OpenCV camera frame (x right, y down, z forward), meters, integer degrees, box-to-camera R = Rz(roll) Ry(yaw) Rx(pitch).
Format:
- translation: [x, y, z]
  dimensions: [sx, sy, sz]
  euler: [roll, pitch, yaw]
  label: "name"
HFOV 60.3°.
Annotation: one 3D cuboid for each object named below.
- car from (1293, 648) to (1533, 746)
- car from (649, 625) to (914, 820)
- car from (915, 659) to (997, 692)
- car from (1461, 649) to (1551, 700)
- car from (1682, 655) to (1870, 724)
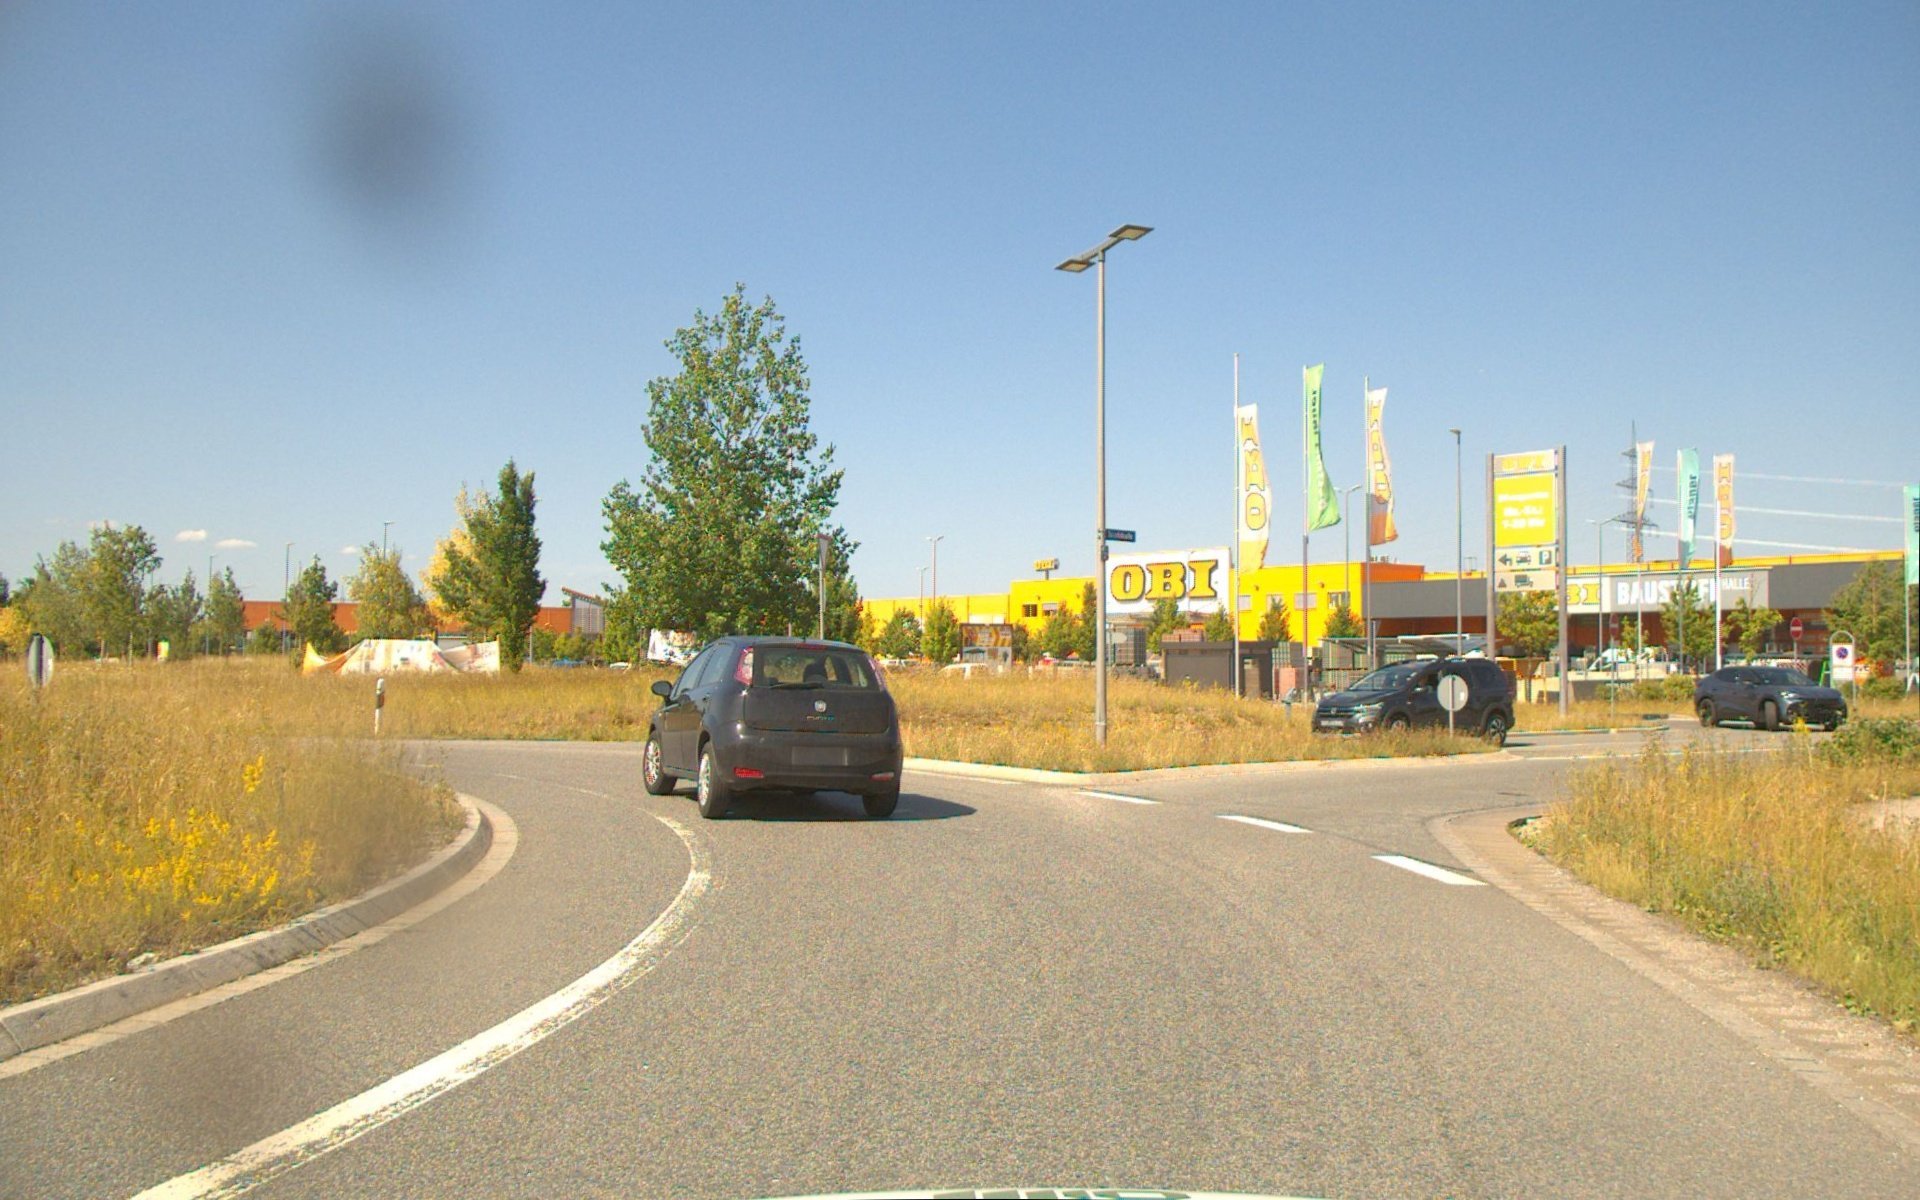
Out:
- translation: [8.628, 1.811, 31.371]
  dimensions: [4.574, 1.736, 1.933]
  euler: [2, -4, -35]
  label: "car"
- translation: [-1.740, 1.045, 14.988]
  dimensions: [1.614, 1.514, 3.884]
  euler: [2, -2, -18]
  label: "car"
- translation: [-0.211, 3.916, 85.883]
  dimensions: [3.925, 1.646, 1.989]
  euler: [-2, -3, 40]
  label: "car"
- translation: [21.515, 2.941, 65.099]
  dimensions: [3.739, 1.874, 1.675]
  euler: [4, -4, -40]
  label: "car"
- translation: [20.858, 2.315, 42.544]
  dimensions: [2.033, 1.655, 4.688]
  euler: [0, -3, -8]
  label: "car"
